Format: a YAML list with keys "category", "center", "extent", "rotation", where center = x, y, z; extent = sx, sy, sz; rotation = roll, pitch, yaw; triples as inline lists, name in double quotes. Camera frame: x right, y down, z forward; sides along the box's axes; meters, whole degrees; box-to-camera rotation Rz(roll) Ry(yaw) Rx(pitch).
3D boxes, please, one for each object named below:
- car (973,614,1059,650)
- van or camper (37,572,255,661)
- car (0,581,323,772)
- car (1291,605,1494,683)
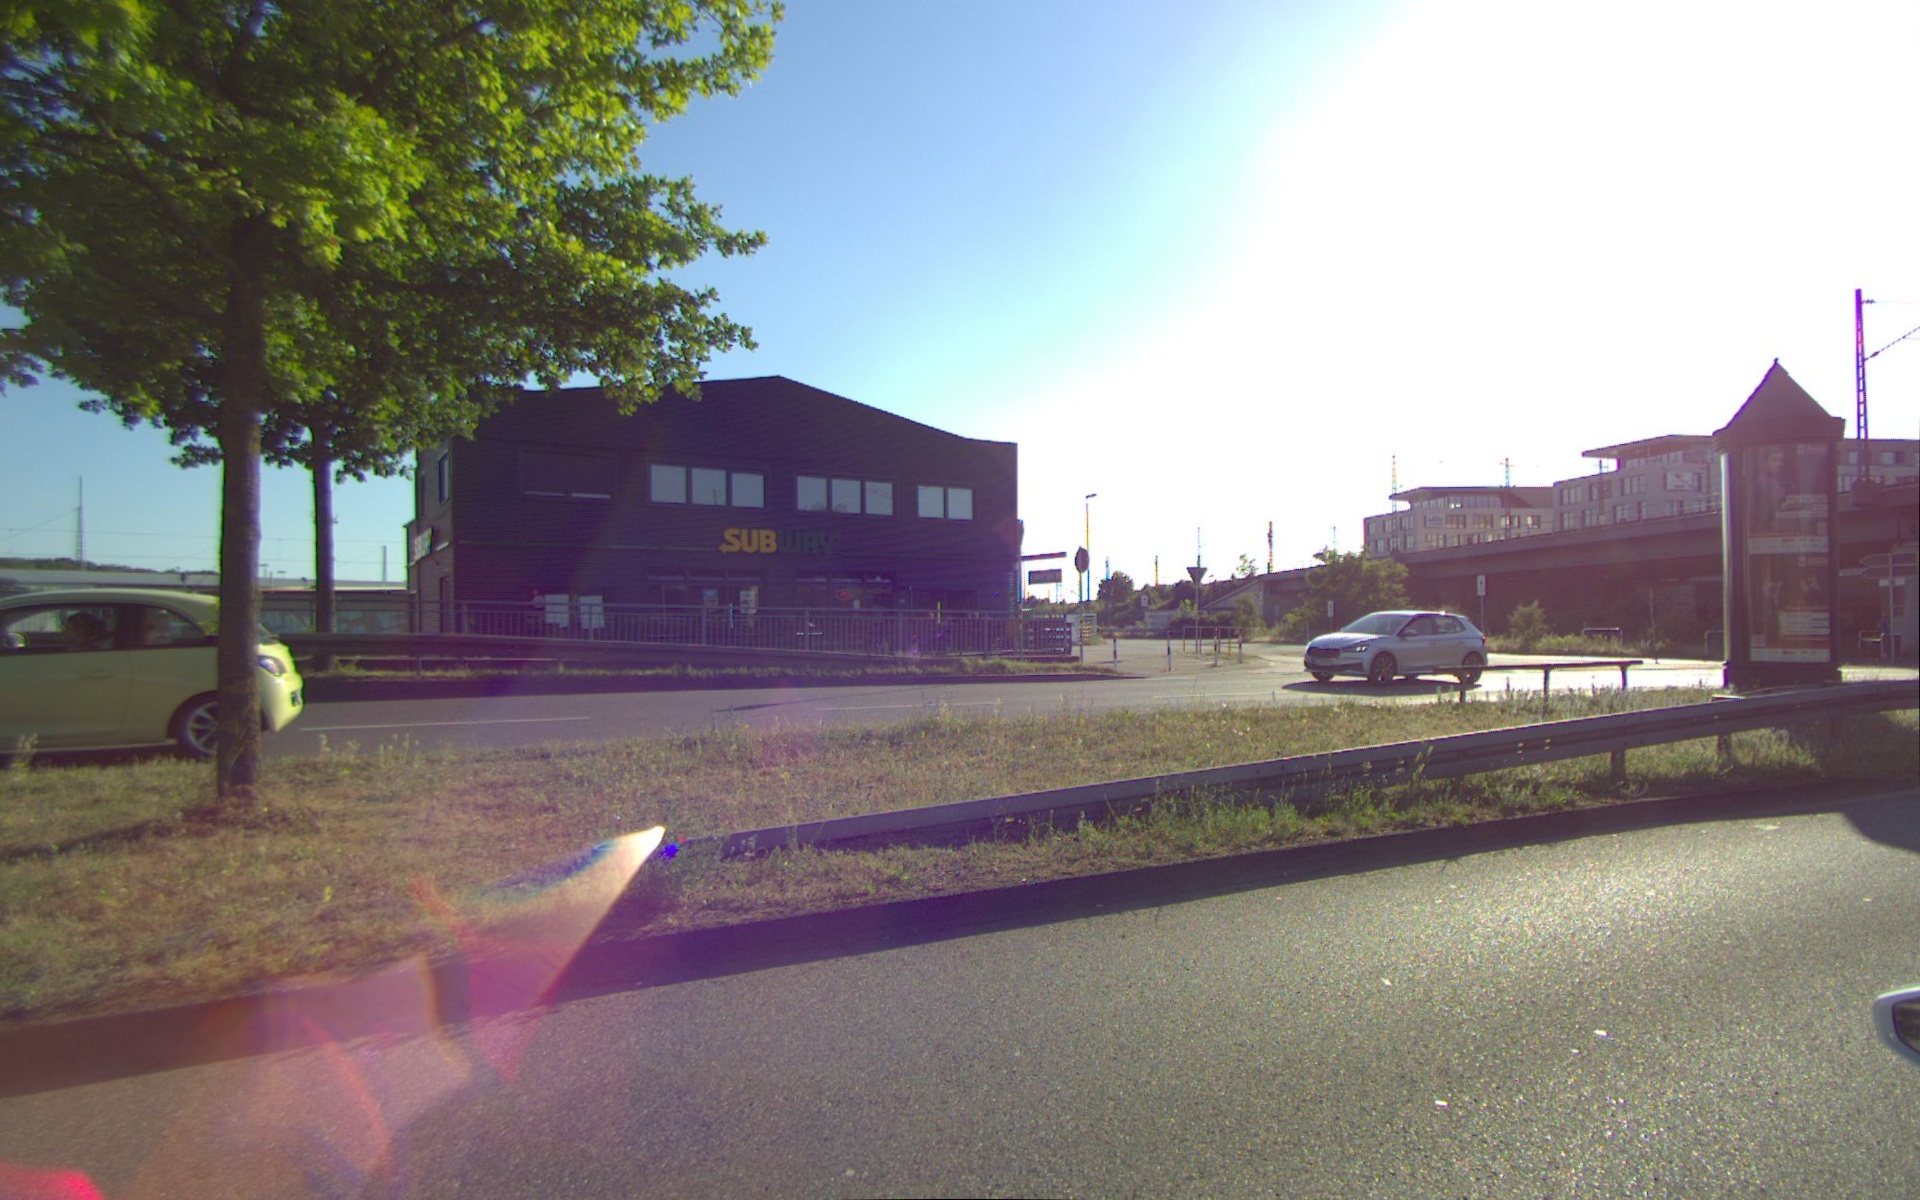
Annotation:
- category: "car"
  center: [2.535, 1.449, 46.374]
  extent: [1.827, 1.550, 3.957]
  rotation: [2, -1, -37]
- category: "van or camper"
  center: [-19.966, 0.458, 24.927]
  extent: [1.961, 1.951, 4.229]
  rotation: [2, -2, -2]
- category: "car"
  center: [-7.739, 0.592, 8.641]
  extent: [3.723, 1.482, 1.731]
  rotation: [2, 0, -31]
- category: "car"
  center: [8.925, 0.907, 20.672]
  extent: [4.053, 1.482, 1.666]
  rotation: [2, -1, -27]
